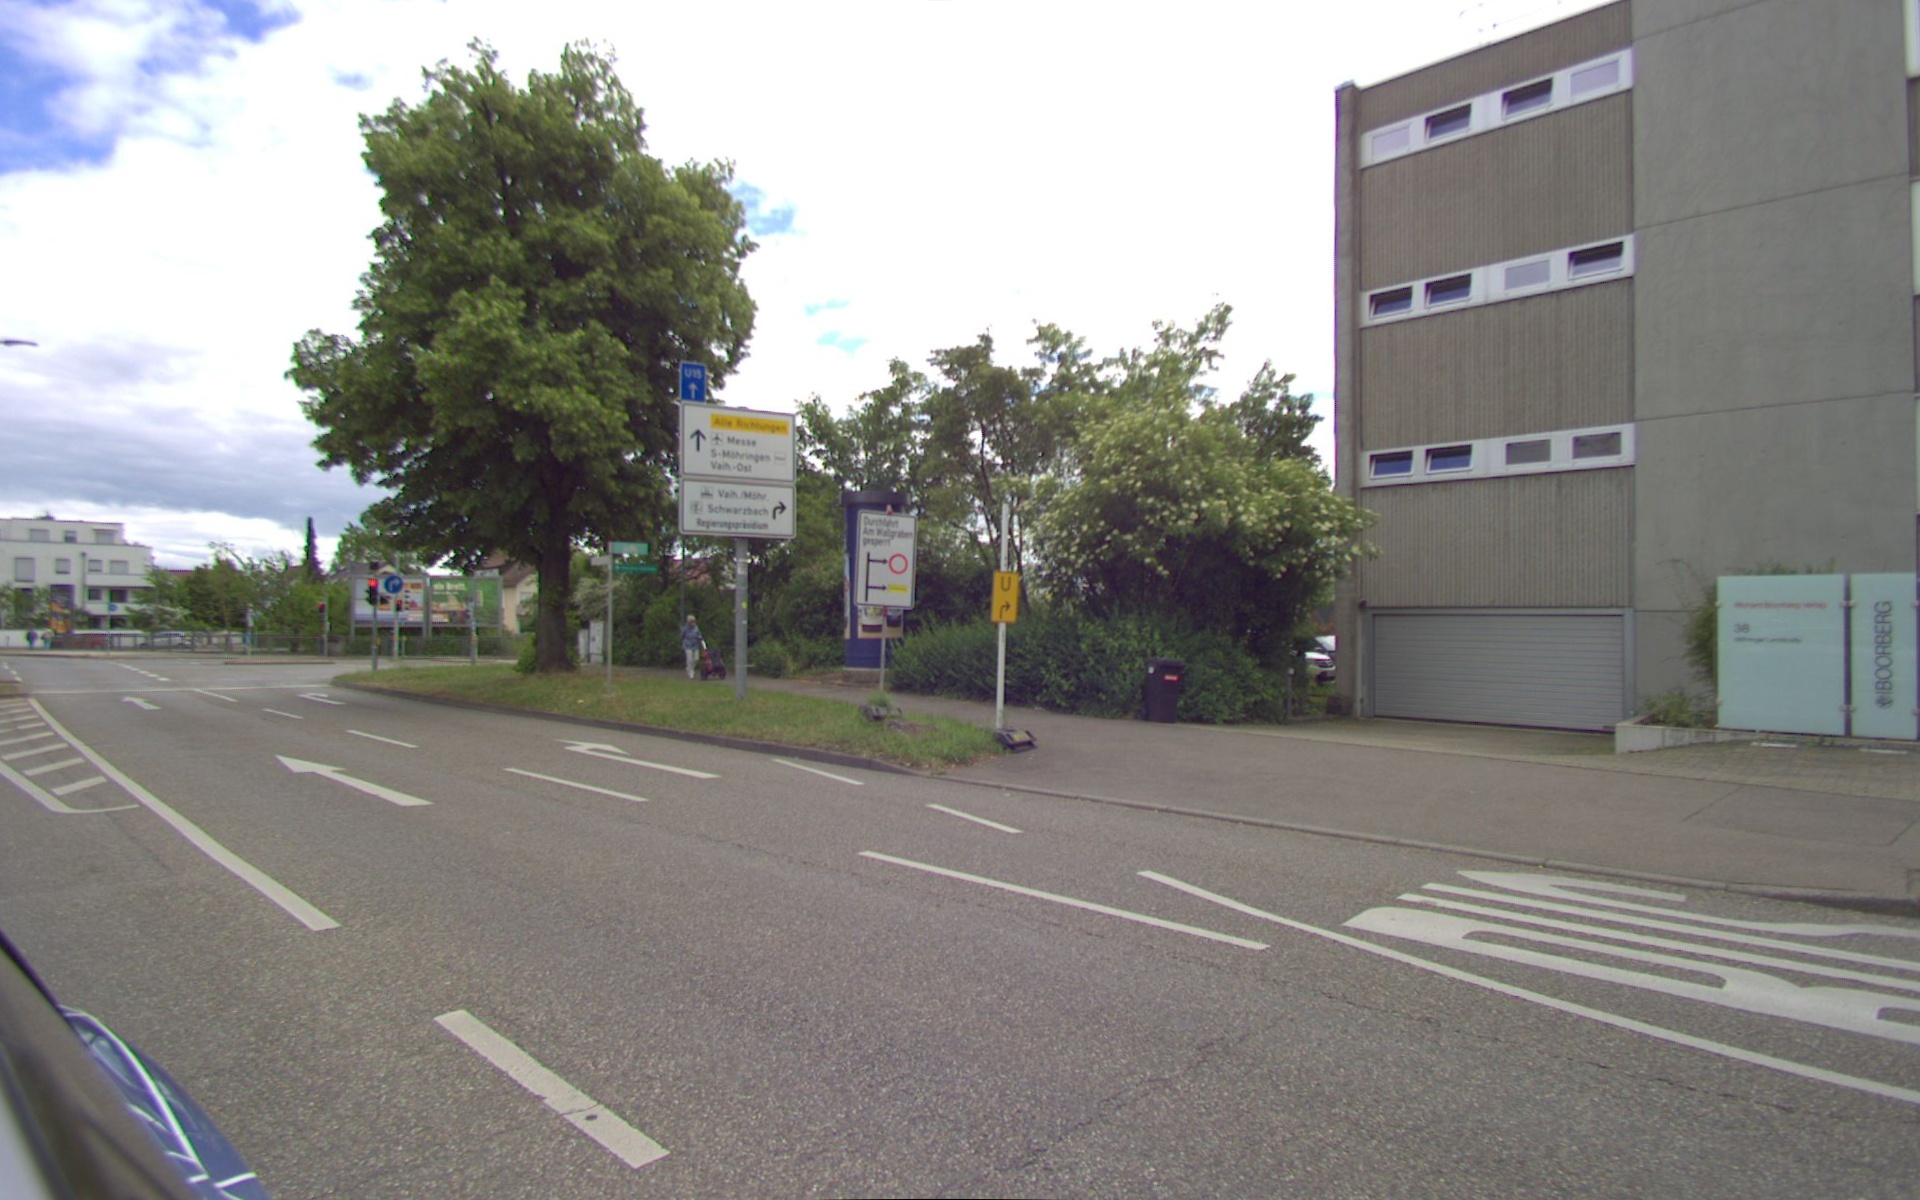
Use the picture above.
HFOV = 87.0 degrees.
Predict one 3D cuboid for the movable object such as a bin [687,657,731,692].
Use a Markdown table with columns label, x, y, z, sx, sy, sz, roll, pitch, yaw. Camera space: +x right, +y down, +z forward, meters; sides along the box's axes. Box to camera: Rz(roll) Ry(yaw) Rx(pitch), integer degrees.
| label | x | y | z | sx | sy | sz | roll | pitch | yaw |
| --- | --- | --- | --- | --- | --- | --- | --- | --- | --- |
| movable object such as a bin | -6.134 | 1.803 | 24.753 | 0.896 | 0.804 | 0.649 | -2 | -2 | 39 |

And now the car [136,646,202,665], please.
| label | x | y | z | sx | sy | sz | roll | pitch | yaw |
| --- | --- | --- | --- | --- | --- | --- | --- | --- | --- |
| car | -67.496 | 4.703 | 86.389 | 4.061 | 1.547 | 1.651 | 2 | -3 | -13 |

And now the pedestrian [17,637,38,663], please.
| label | x | y | z | sx | sy | sz | roll | pitch | yaw |
| --- | --- | --- | --- | --- | --- | --- | --- | --- | --- |
| pedestrian | -60.980 | 3.285 | 66.194 | 1.065 | 1.646 | 0.652 | -1 | -1 | 26 |

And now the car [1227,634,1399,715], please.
| label | x | y | z | sx | sy | sz | roll | pitch | yaw |
| --- | --- | --- | --- | --- | --- | --- | --- | --- | --- |
| car | 9.654 | 1.968 | 27.838 | 3.999 | 2.029 | 1.972 | -2 | -2 | 42 |

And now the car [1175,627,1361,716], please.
| label | x | y | z | sx | sy | sz | roll | pitch | yaw |
| --- | --- | --- | --- | --- | --- | --- | --- | --- | --- |
| car | 7.634 | 1.700 | 25.264 | 3.999 | 2.029 | 1.972 | -2 | -2 | 42 |

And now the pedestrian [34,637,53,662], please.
| label | x | y | z | sx | sy | sz | roll | pitch | yaw |
| --- | --- | --- | --- | --- | --- | --- | --- | --- | --- |
| pedestrian | -60.553 | 3.280 | 66.837 | 0.828 | 1.646 | 0.652 | -1 | -1 | 25 |

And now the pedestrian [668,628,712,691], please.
| label | x | y | z | sx | sy | sz | roll | pitch | yaw |
| --- | --- | --- | --- | --- | --- | --- | --- | --- | --- |
| pedestrian | -6.752 | 1.475 | 25.292 | 0.922 | 1.534 | 0.649 | -2 | -2 | 39 |
